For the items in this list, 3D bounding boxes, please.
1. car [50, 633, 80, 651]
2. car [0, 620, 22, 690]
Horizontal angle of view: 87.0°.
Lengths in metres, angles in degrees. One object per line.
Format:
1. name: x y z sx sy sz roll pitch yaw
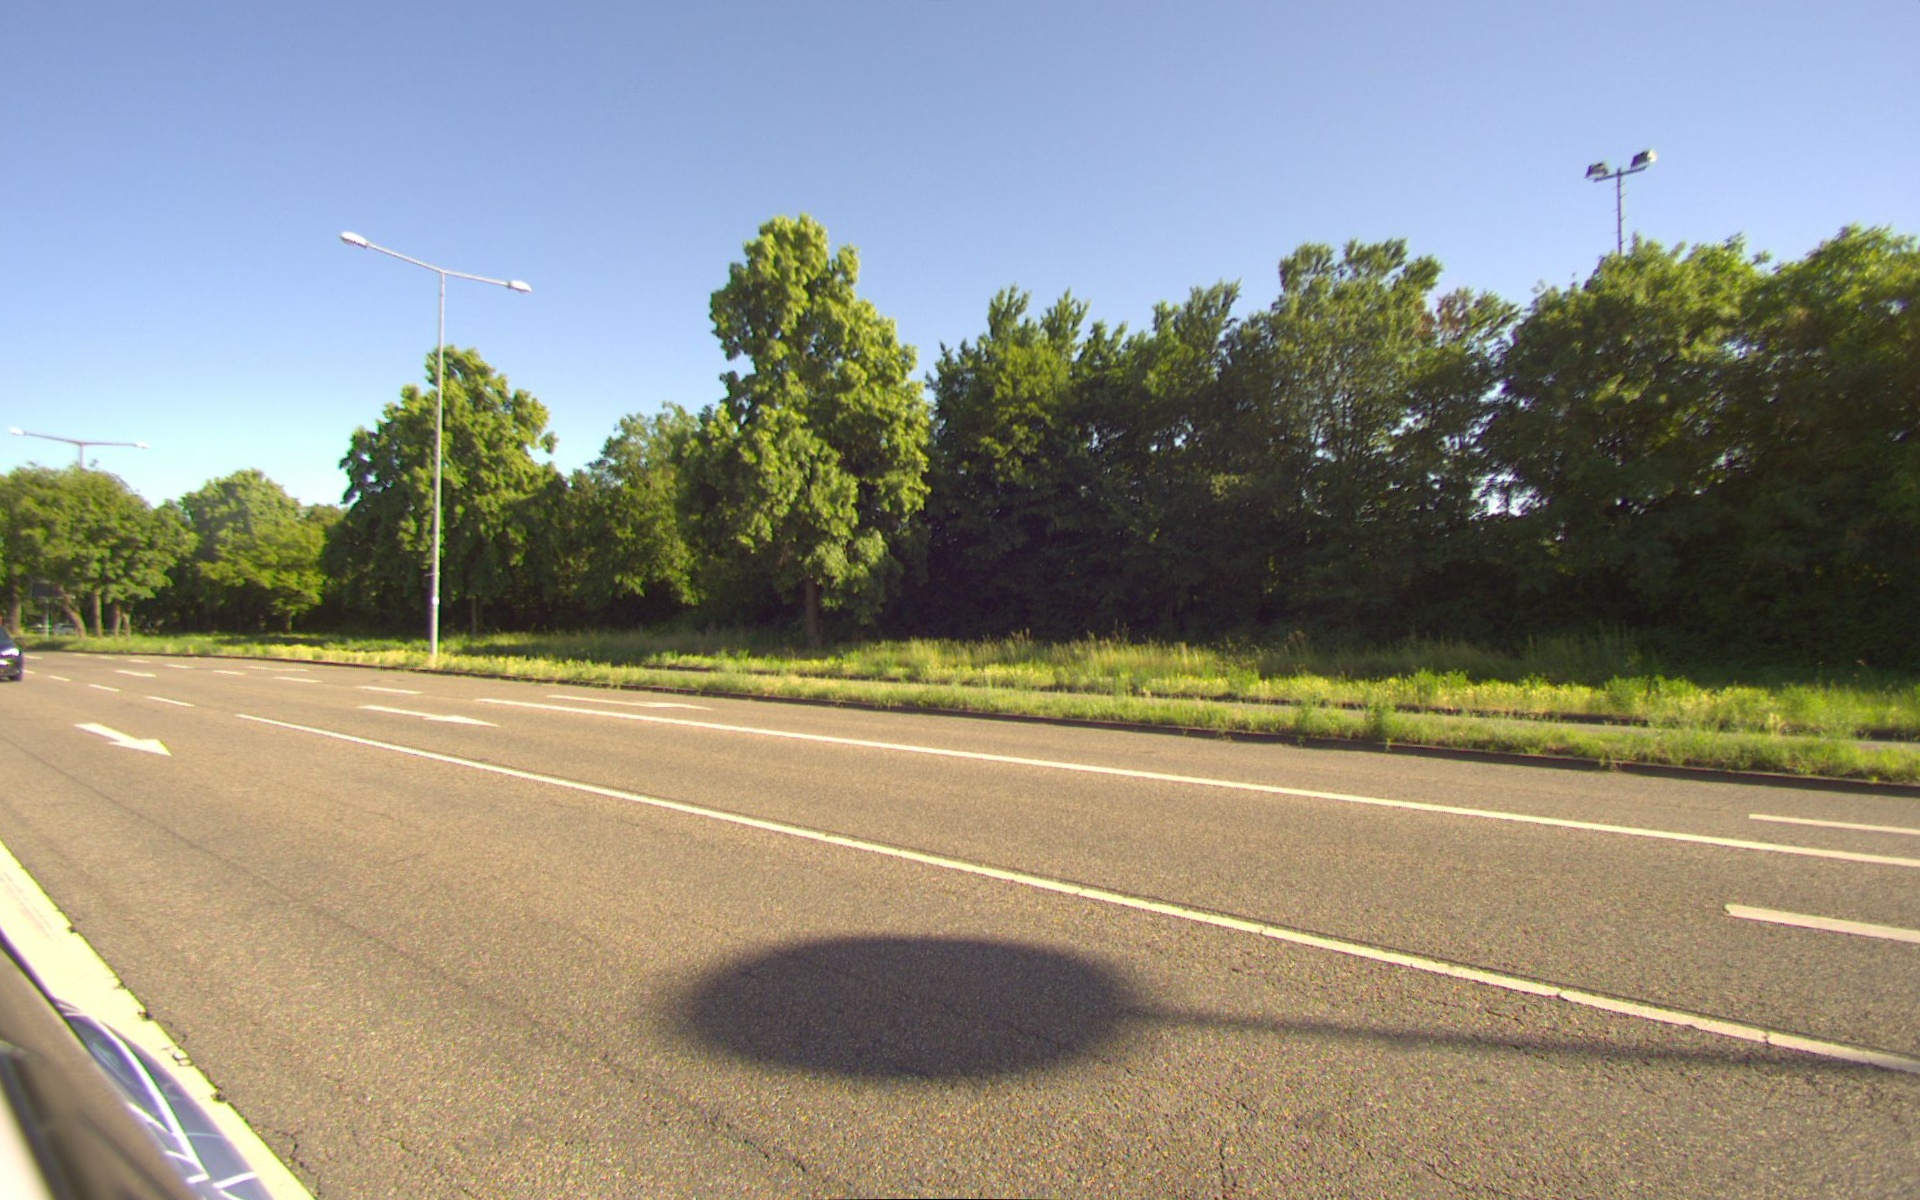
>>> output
1. car: -95.216 4.413 107.684 4.406 1.716 1.892 0 0 42
2. car: -24.703 1.334 25.056 4.295 1.628 1.743 -1 -1 41
